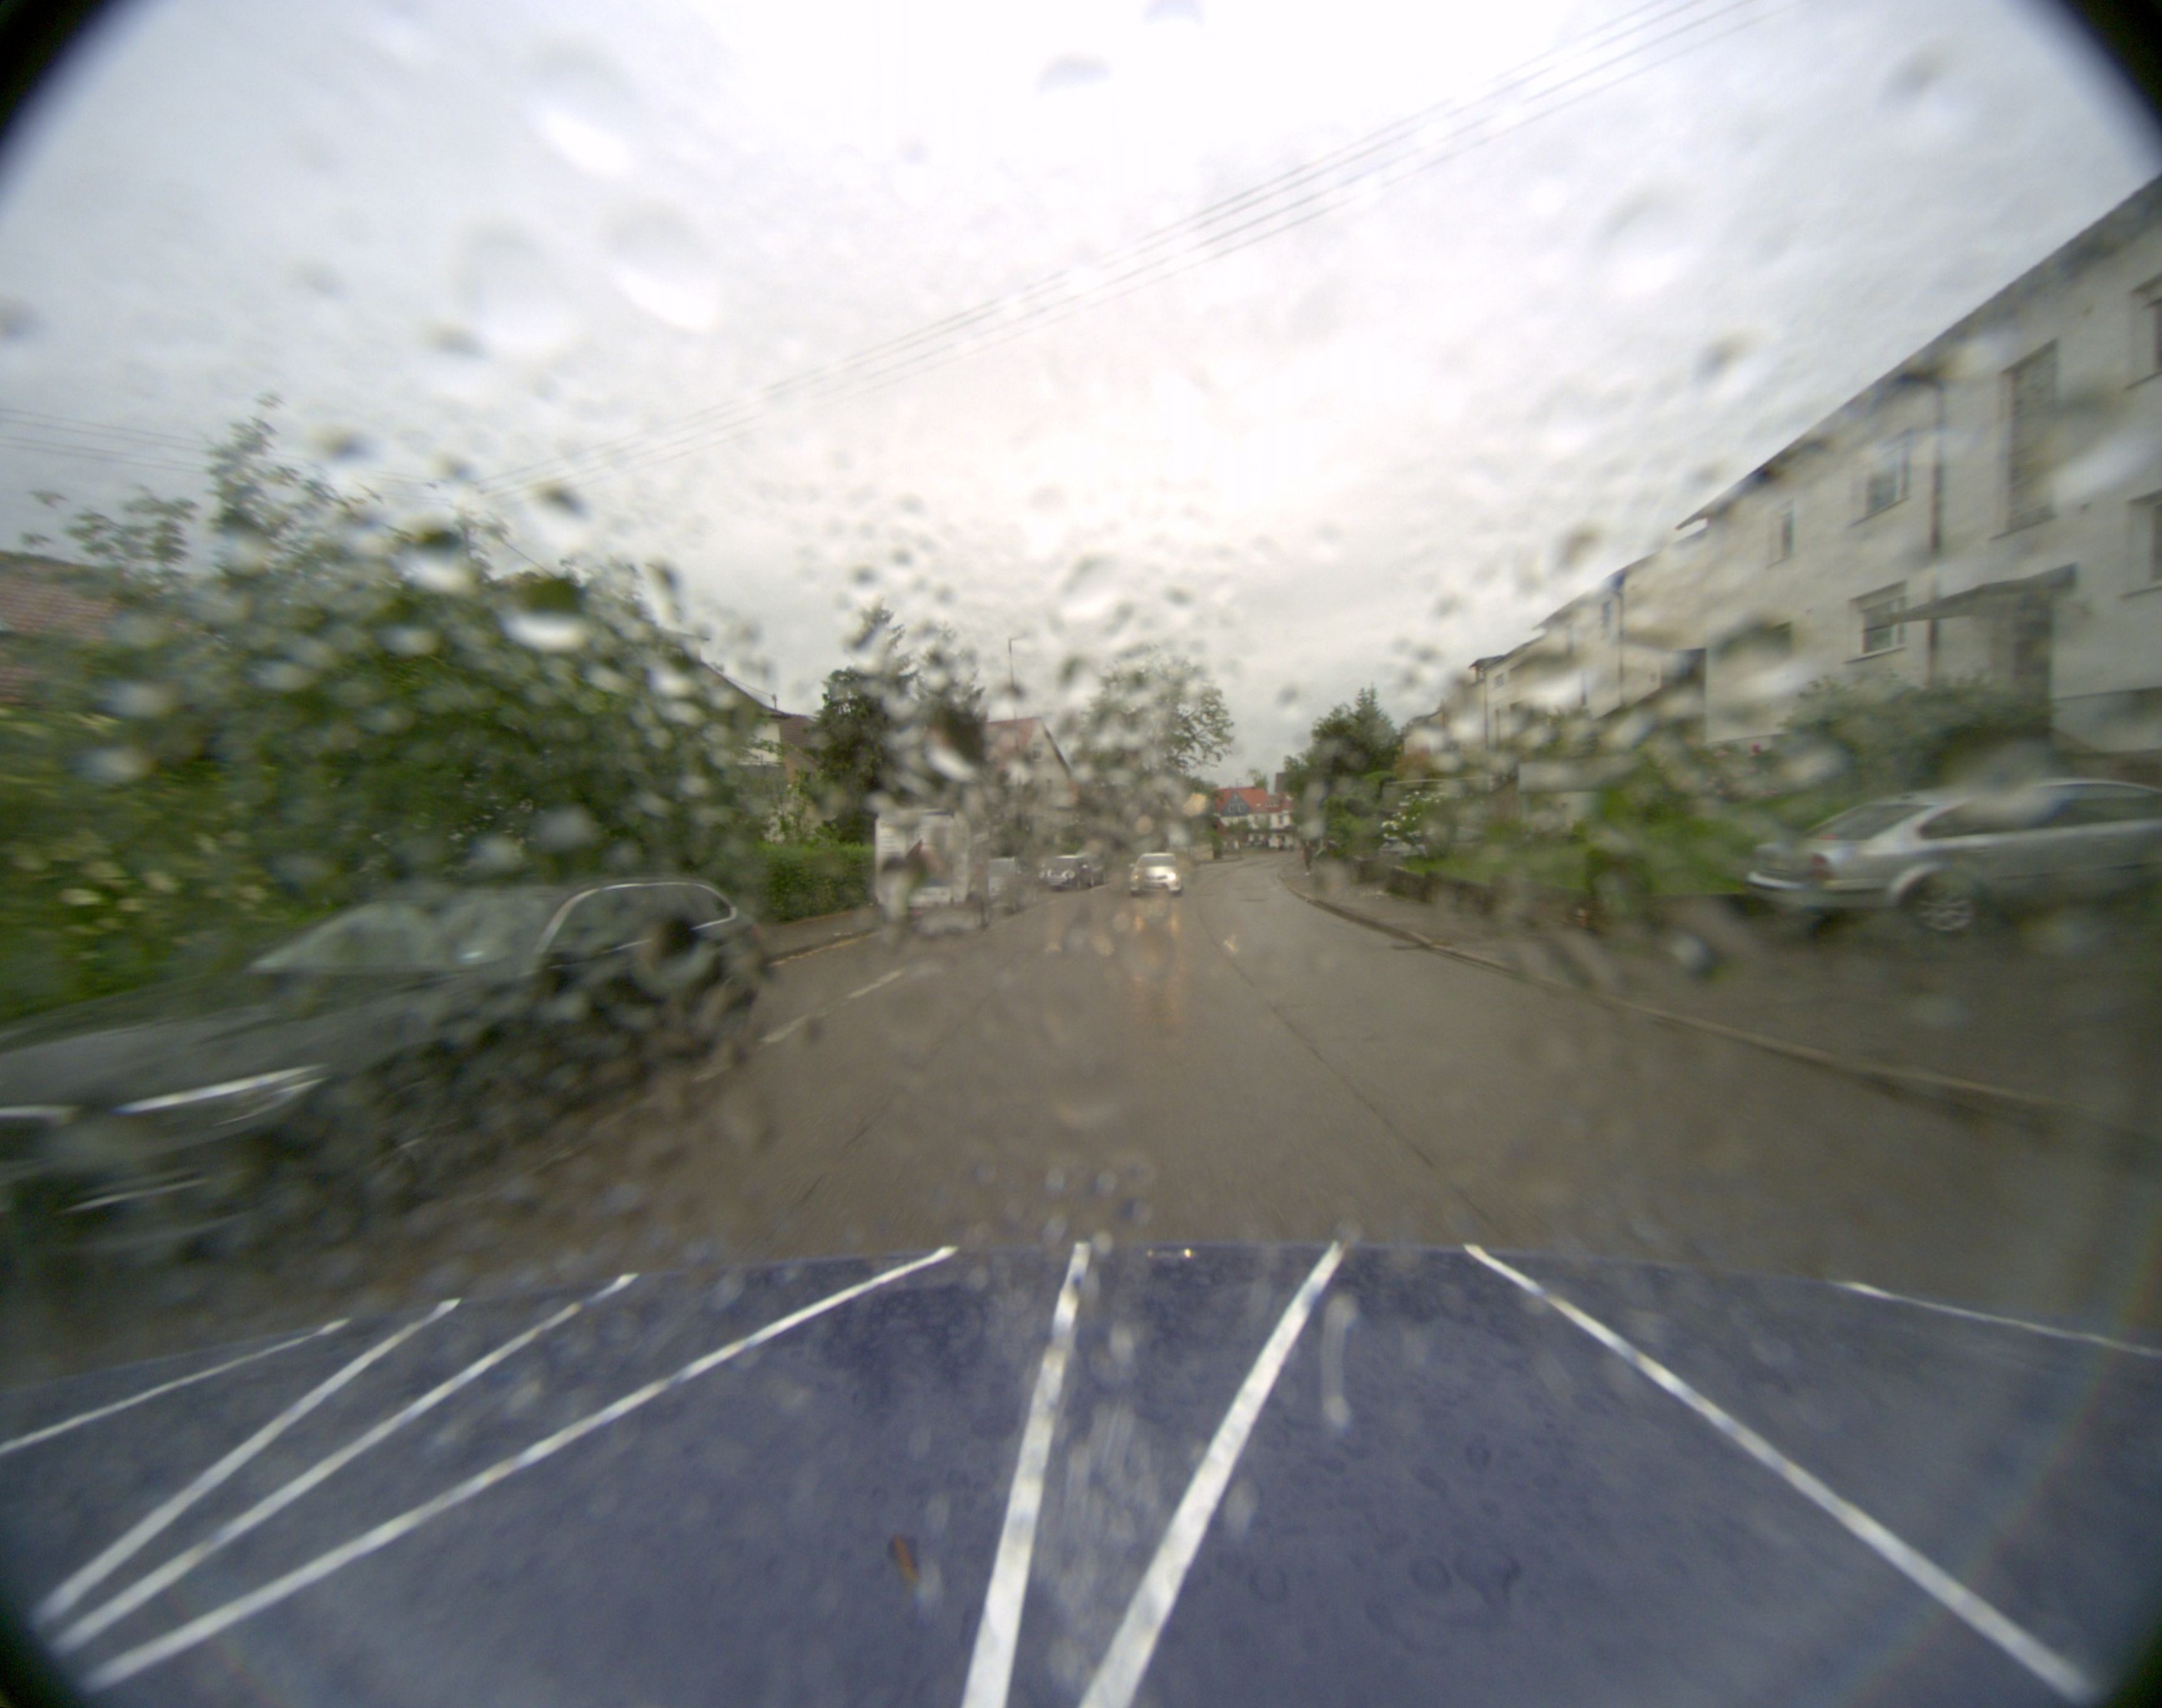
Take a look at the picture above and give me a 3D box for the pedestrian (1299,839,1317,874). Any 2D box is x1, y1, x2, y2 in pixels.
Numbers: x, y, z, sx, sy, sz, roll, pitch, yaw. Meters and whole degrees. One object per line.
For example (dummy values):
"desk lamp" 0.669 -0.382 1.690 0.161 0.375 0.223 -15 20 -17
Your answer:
"pedestrian" 11.024 0.137 36.959 0.657 1.639 0.733 -3 0 8

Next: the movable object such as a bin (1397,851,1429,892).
"movable object such as a bin" 9.494 0.494 21.718 0.538 1.069 0.743 -8 0 9

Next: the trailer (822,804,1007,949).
"trailer" -3.115 0.349 15.676 1.953 2.442 5.436 -2 1 7

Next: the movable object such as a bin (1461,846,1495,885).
"movable object such as a bin" 11.147 0.309 21.362 0.538 1.013 0.711 -7 0 9

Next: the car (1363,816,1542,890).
"car" 11.415 -0.030 23.687 4.518 1.605 1.933 -8 0 11

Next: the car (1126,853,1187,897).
"car" 2.835 0.710 27.613 1.862 1.370 4.183 -2 1 10

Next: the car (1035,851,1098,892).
"car" -0.529 0.663 30.716 1.636 1.448 3.703 -1 1 13

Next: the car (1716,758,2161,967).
"car" 9.913 0.053 8.151 4.259 1.423 1.768 -11 -1 16

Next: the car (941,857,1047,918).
"car" -2.321 0.856 21.559 1.750 1.416 4.706 -2 1 9

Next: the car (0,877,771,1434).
"car" -3.873 0.994 4.658 1.797 1.451 4.788 -2 1 2

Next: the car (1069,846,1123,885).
"car" 0.785 0.502 36.506 1.832 1.691 4.464 -2 1 11
